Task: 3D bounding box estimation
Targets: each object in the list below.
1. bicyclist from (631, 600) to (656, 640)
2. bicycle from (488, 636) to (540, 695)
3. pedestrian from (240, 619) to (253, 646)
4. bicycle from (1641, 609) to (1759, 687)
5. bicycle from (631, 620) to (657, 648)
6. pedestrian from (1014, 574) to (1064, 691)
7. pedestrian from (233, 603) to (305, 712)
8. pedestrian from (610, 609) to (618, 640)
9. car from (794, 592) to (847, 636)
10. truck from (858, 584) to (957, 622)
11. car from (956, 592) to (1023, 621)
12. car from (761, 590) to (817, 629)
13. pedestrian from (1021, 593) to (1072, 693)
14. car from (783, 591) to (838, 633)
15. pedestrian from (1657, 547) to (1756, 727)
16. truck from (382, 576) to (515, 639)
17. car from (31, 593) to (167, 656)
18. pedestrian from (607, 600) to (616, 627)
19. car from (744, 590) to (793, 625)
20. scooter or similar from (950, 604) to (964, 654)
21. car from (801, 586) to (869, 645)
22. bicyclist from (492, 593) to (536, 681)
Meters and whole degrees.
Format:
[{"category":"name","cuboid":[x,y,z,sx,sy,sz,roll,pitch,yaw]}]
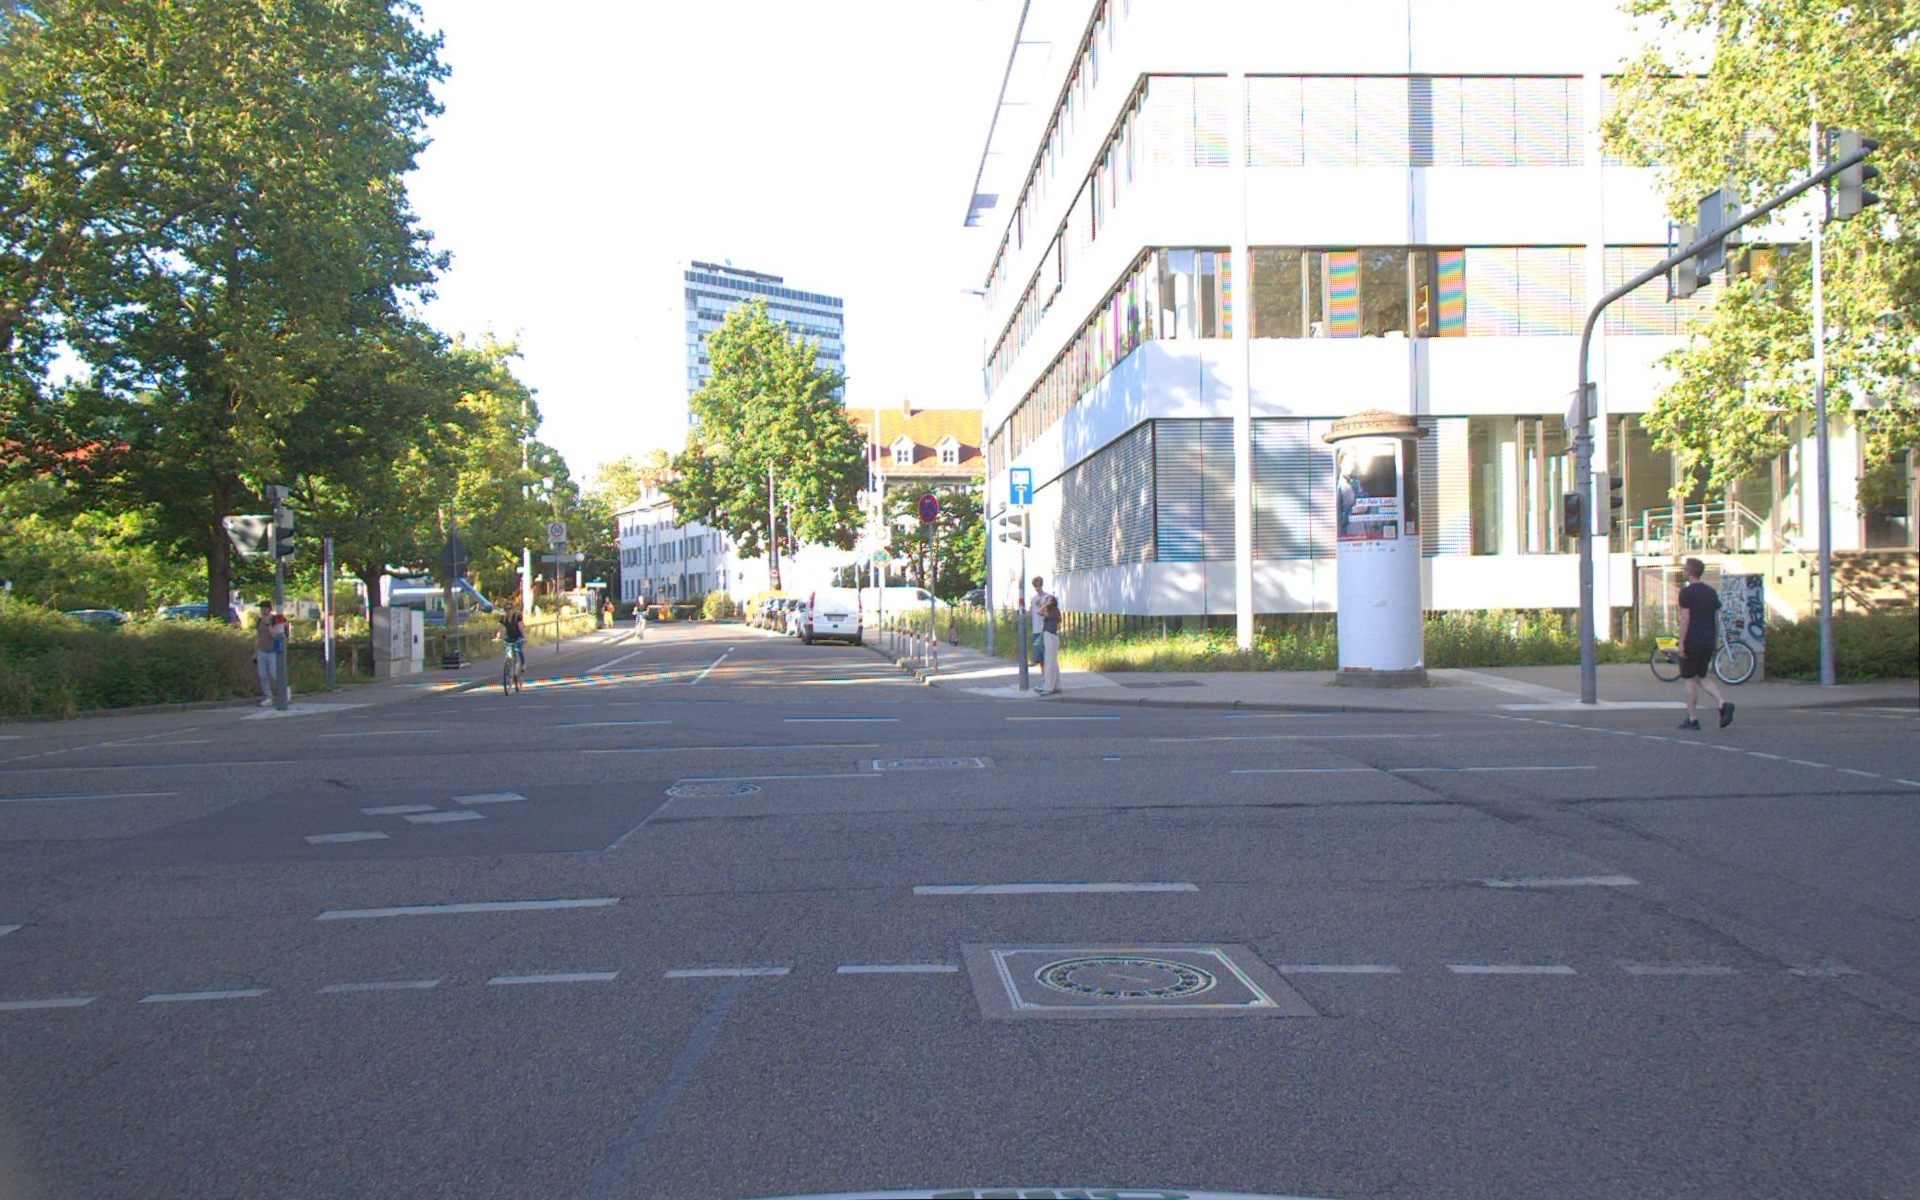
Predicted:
[{"category":"bicyclist","cuboid":[-12.711,0.820,66.404,0.850,1.542,1.017,-3,0,-8]},{"category":"bicycle","cuboid":[-8.089,1.167,30.043,0.604,0.986,1.839,-1,0,-6]},{"category":"pedestrian","cuboid":[-35.952,1.645,83.351,0.550,1.347,0.573,-1,0,-24]},{"category":"bicycle","cuboid":[11.319,0.715,25.333,0.502,1.067,1.669,-3,3,-32]},{"category":"bicycle","cuboid":[-12.687,1.356,66.386,0.850,1.027,2.410,-3,0,-8]},{"category":"pedestrian","cuboid":[1.324,0.533,27.552,0.547,1.882,0.677,-4,1,19]},{"category":"pedestrian","cuboid":[-11.438,0.937,27.394,0.688,1.753,0.955,-2,0,3]},{"category":"pedestrian","cuboid":[-18.666,1.306,89.246,0.425,1.636,0.491,-1,0,-13]},{"category":"car","cuboid":[-5.353,0.504,63.036,1.852,1.583,4.408,0,1,-7]},{"category":"truck","cuboid":[-2.986,0.163,93.090,5.252,2.049,1.991,-1,0,-17]},{"category":"car","cuboid":[1.689,0.368,94.068,3.497,1.573,1.551,-1,0,-17]},{"category":"car","cuboid":[-7.868,0.401,75.786,1.857,1.684,4.397,-1,1,-16]},{"category":"pedestrian","cuboid":[1.405,0.695,26.941,0.550,1.567,0.674,-4,1,-16]},{"category":"car","cuboid":[-6.216,0.469,68.453,1.854,1.583,4.404,0,1,-10]},{"category":"pedestrian","cuboid":[7.991,0.388,17.729,0.692,1.872,0.837,1,0,2]},{"category":"truck","cuboid":[-20.334,0.275,65.893,4.737,2.441,2.084,-1,0,-7]},{"category":"car","cuboid":[-35.613,1.004,68.486,4.468,2.433,2.071,-2,0,-6]},{"category":"pedestrian","cuboid":[-22.266,0.861,105.611,0.536,1.706,0.474,-1,0,-14]},{"category":"car","cuboid":[-9.975,0.364,85.829,1.857,1.684,4.397,-1,1,-16]},{"category":"scooter or similar","cuboid":[-0.099,0.852,48.402,0.323,1.449,1.334,1,-1,-3]},{"category":"car","cuboid":[-4.186,0.464,54.869,2.045,1.827,4.408,0,1,-7]},{"category":"bicyclist","cuboid":[-8.100,0.661,30.057,0.604,1.559,0.902,-1,0,-6]}]
